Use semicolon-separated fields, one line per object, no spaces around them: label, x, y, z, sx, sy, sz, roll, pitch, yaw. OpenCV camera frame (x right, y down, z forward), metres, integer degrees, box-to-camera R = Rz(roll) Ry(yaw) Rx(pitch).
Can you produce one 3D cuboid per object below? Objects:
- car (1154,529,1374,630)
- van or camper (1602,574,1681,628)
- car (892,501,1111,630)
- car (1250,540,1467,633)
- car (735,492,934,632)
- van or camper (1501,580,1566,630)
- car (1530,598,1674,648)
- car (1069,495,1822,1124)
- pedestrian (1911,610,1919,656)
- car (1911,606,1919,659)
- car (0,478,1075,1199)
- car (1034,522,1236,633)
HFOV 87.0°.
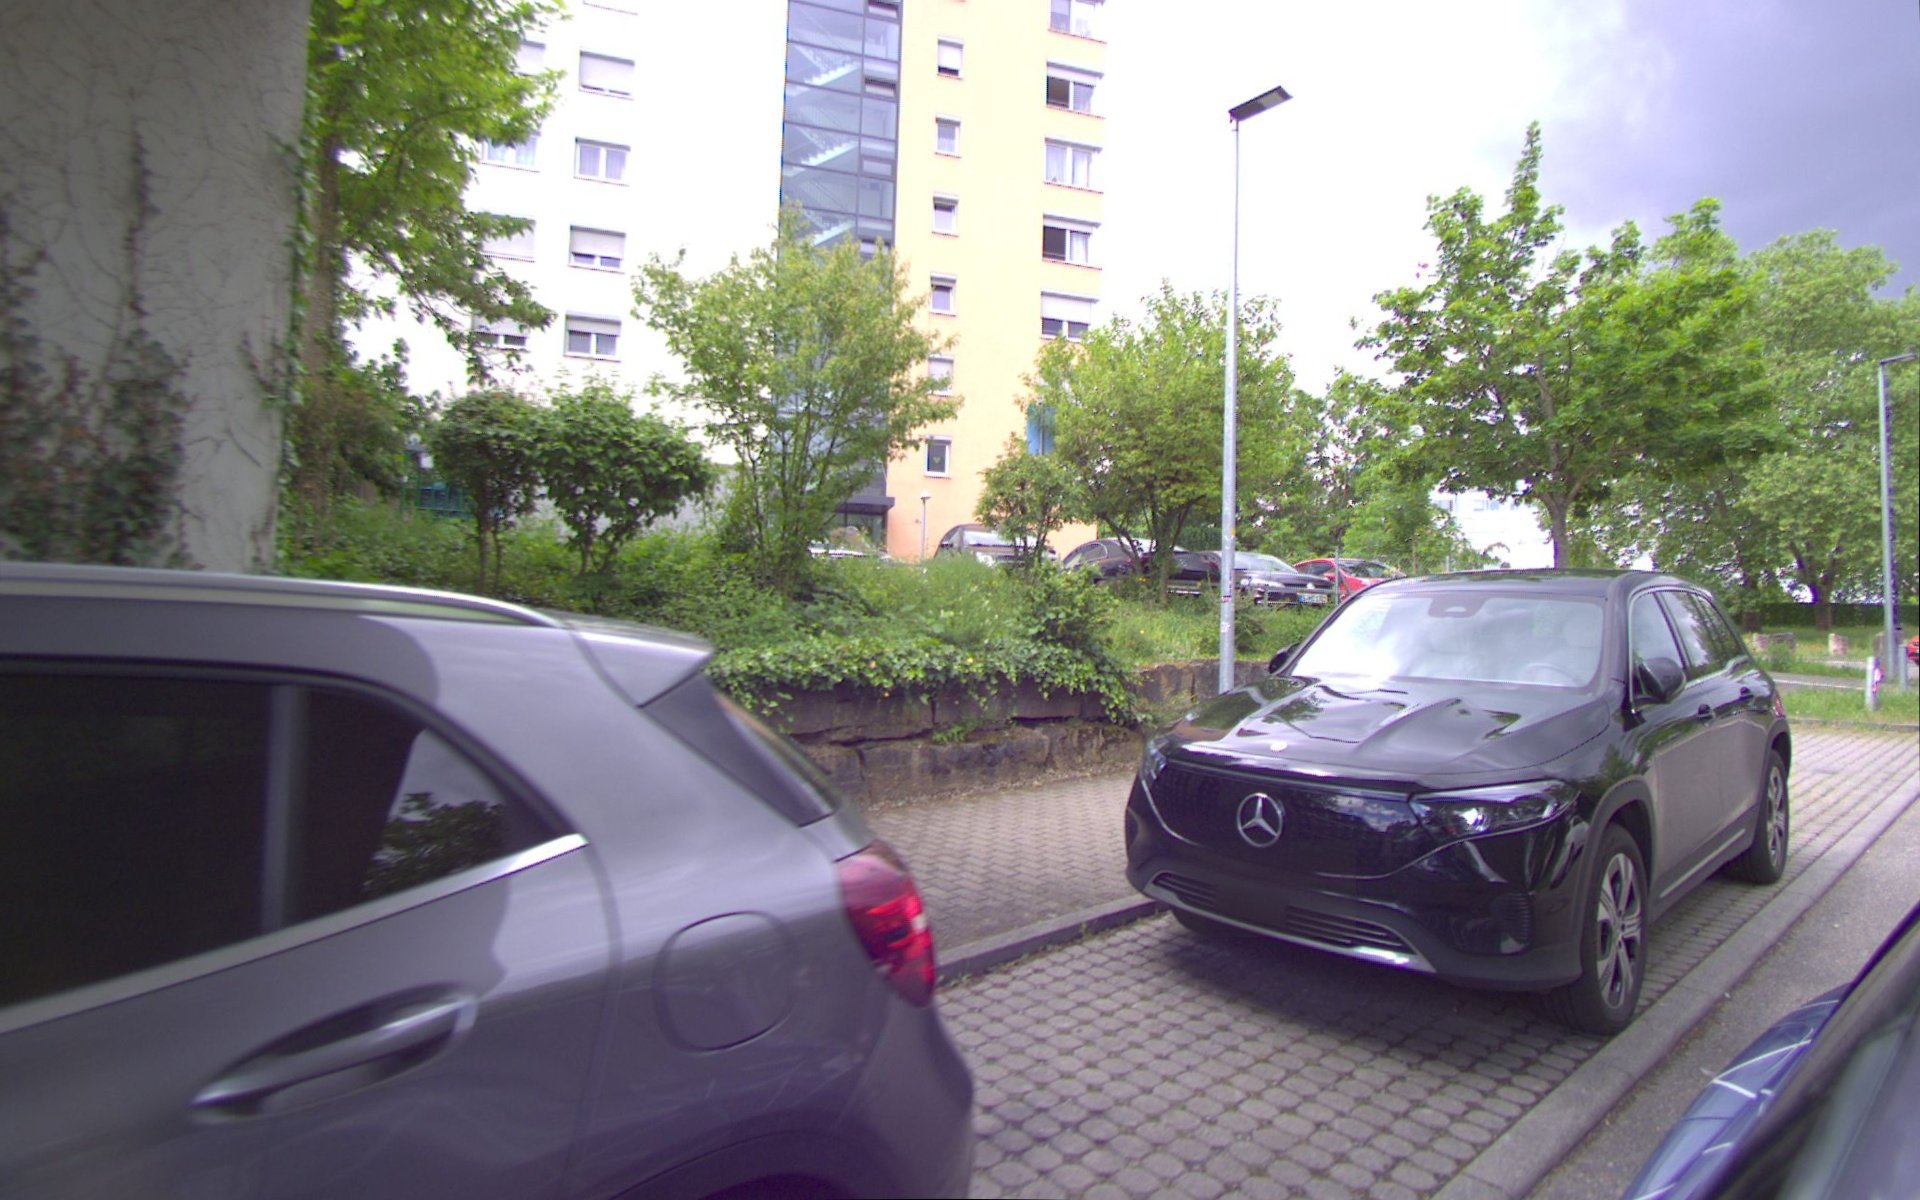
car;4.935;-0.244;17.006;1.649;1.440;3.806;1;-3;-18
van or camper;37.913;0.118;56.457;2.083;2.835;4.461;0;-3;13
car;0.470;-0.388;15.425;1.903;1.635;4.006;1;-3;-21
car;7.027;-0.156;18.264;1.649;1.458;3.668;1;-3;-18
car;-2.044;-0.405;15.063;1.903;1.690;4.565;1;-3;-21
van or camper;34.346;0.338;60.762;2.083;2.835;4.461;0;-3;13
car;22.176;0.757;35.049;3.994;1.638;1.696;0;0;43
car;2.635;0.593;4.879;4.295;1.700;1.816;1;-1;-43
pedestrian;35.108;1.197;36.565;0.580;1.678;0.873;2;-3;-25
car;29.637;0.920;28.720;3.918;1.535;1.762;1;-3;-8
car;-1.889;0.666;0.884;4.047;1.516;1.702;0;-1;-41
car;2.650;-0.253;16.209;1.649;1.517;3.668;1;-3;-18
